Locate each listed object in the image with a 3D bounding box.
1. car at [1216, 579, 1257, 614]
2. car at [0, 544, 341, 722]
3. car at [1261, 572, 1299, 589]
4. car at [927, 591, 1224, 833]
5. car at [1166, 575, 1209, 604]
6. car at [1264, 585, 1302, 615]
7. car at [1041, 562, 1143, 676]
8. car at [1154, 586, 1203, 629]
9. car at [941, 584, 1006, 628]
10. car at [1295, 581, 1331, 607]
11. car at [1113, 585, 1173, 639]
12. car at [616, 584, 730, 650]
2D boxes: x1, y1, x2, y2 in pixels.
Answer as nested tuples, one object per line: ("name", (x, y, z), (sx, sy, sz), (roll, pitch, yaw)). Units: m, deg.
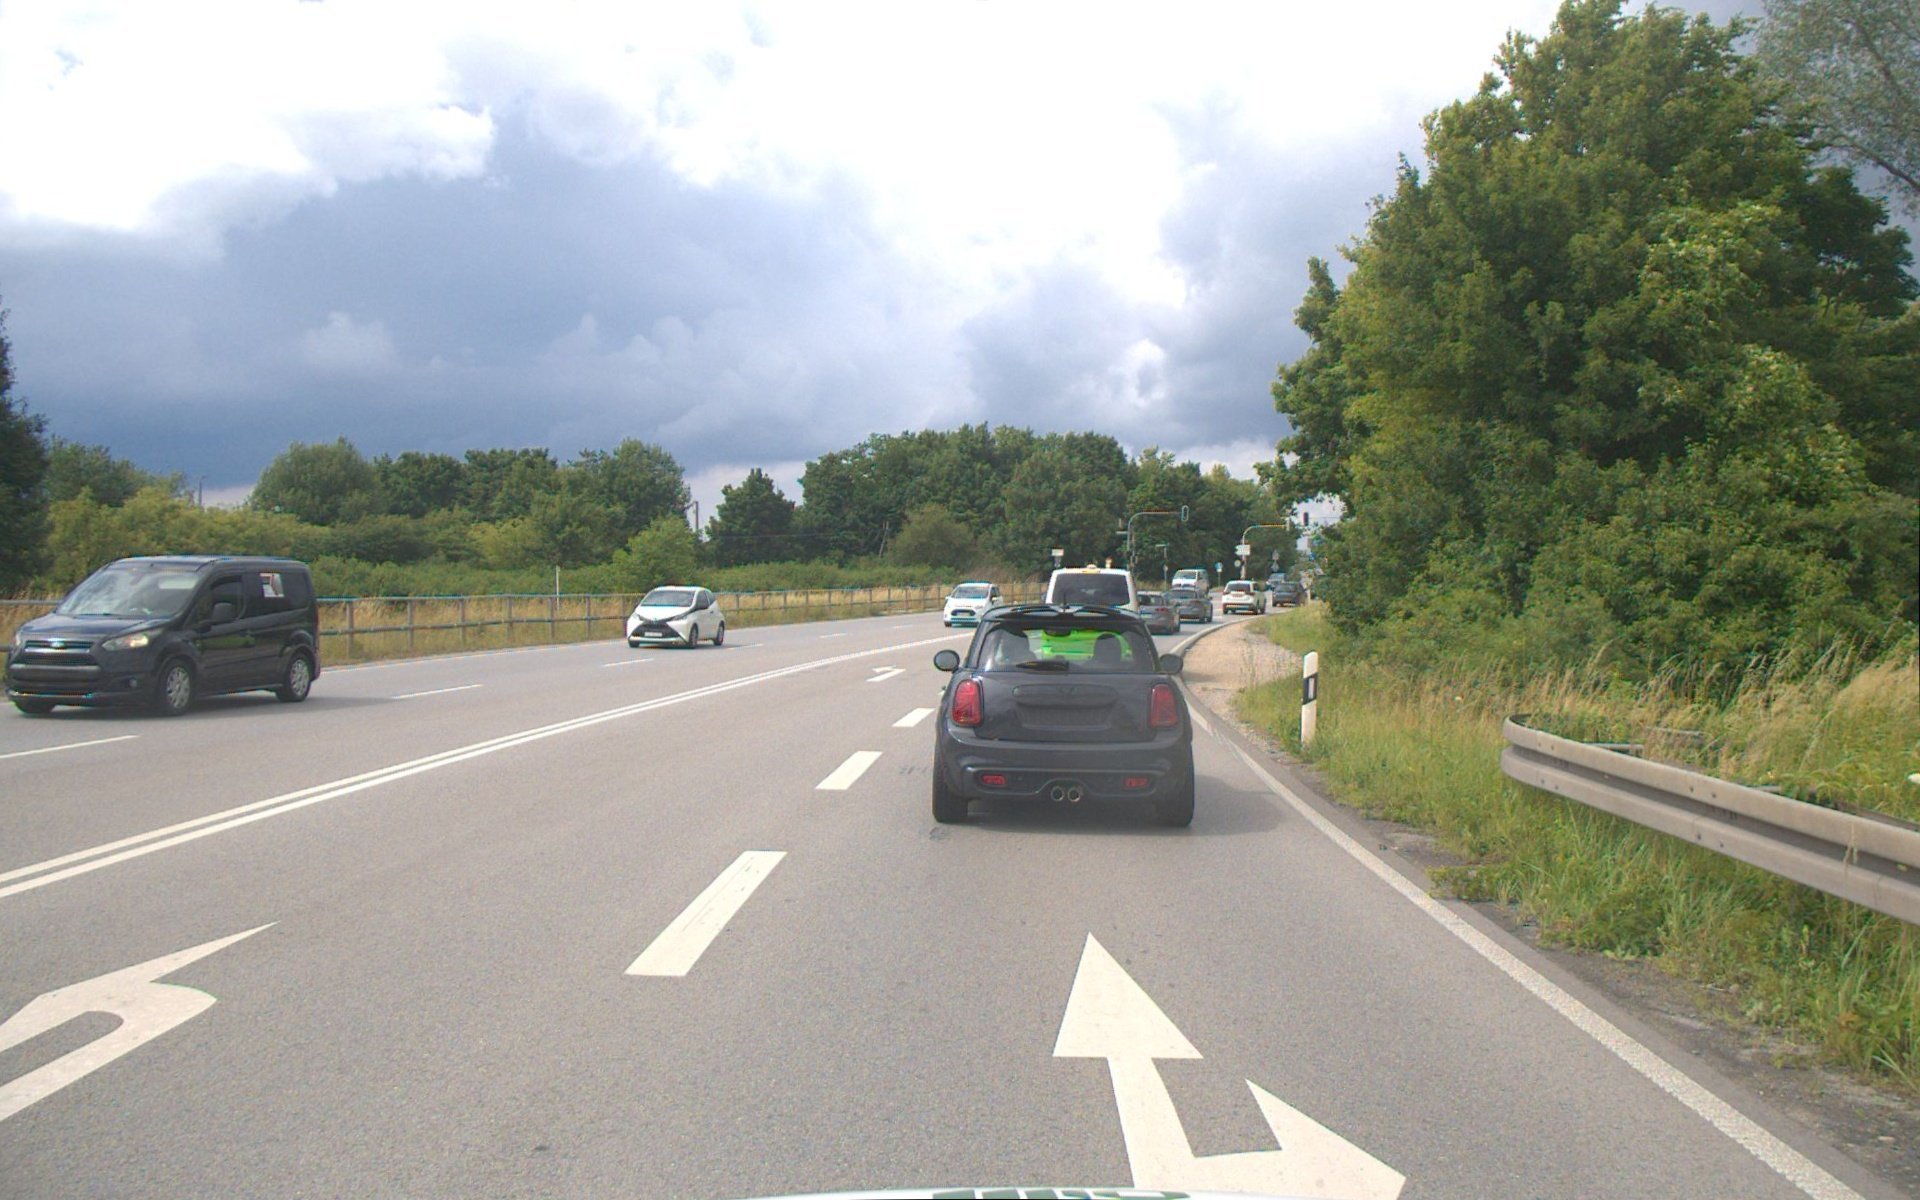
("car", (14.075, -0.160, 84.201), (1.951, 1.713, 4.003), (2, 0, 9))
("car", (-9.158, 0.315, 19.375), (1.952, 1.828, 4.322), (1, 1, 4))
("car", (29.394, -1.786, 151.784), (1.778, 1.467, 4.338), (1, 1, 35))
("car", (0.735, 0.699, 12.113), (1.807, 1.453, 3.841), (1, 0, 1))
("car", (16.403, -0.740, 119.173), (1.953, 2.049, 4.667), (1, 1, 22))
("car", (19.222, 0.016, 98.627), (1.951, 1.713, 4.003), (2, 0, 8))
("car", (2.538, 0.355, 31.839), (1.806, 2.022, 3.843), (1, 0, 5))
("car", (9.202, 0.323, 69.552), (1.951, 1.713, 3.980), (2, 0, 8))
("car", (0.535, 0.208, 61.129), (1.693, 1.544, 4.003), (2, 0, 10))
("car", (24.545, -0.431, 114.936), (1.952, 1.725, 4.488), (1, 1, 18))
("car", (6.328, 0.408, 57.183), (1.951, 1.713, 4.003), (2, 0, 6))
("car", (-6.965, 0.389, 40.513), (1.837, 1.515, 3.746), (1, 1, 5))
